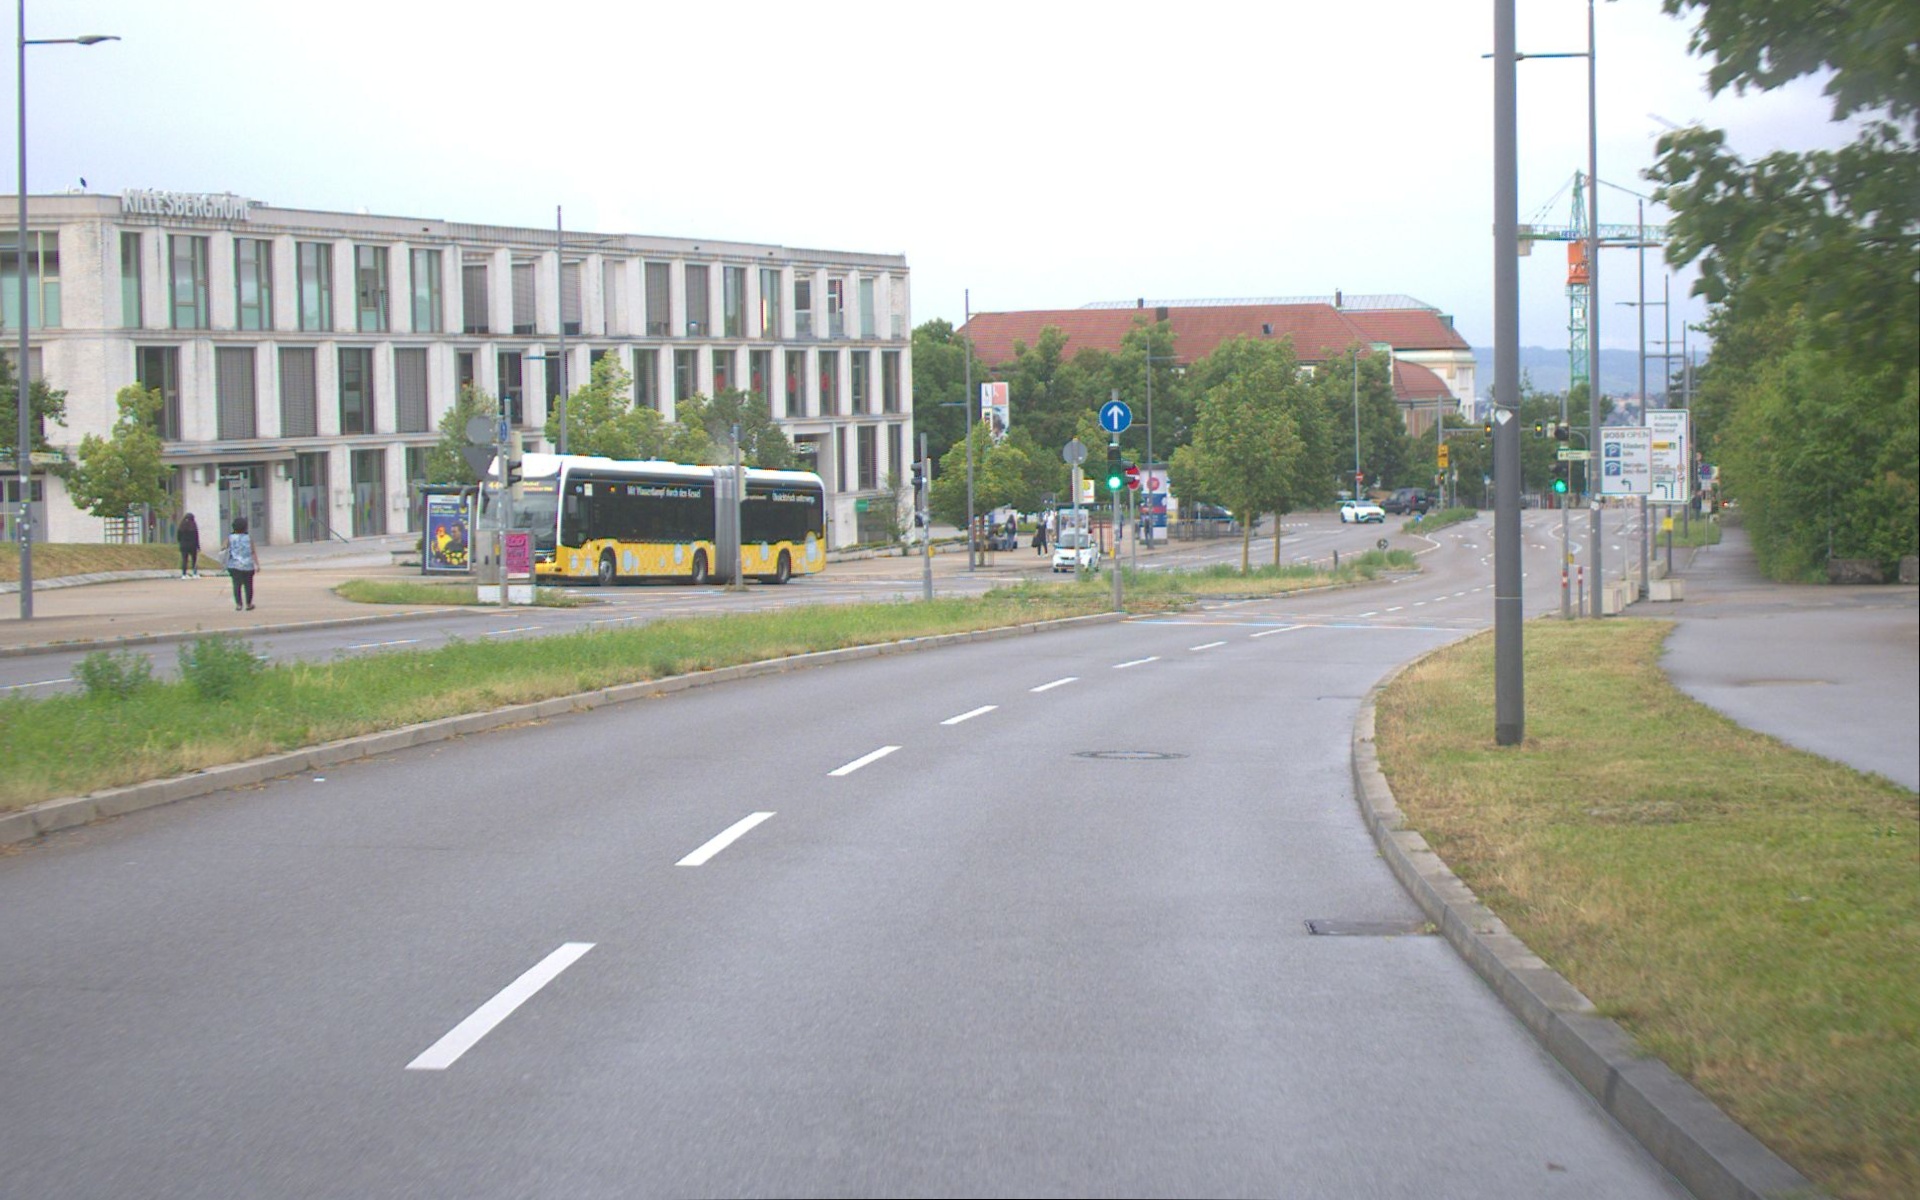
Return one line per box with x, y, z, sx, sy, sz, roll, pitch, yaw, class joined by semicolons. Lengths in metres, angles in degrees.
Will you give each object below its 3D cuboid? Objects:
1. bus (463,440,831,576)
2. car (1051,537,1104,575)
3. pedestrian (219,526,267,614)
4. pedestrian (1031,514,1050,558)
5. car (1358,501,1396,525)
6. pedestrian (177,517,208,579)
-8.325;-2.398;96.135;2.787;3.345;18.208;0;0;20;bus
4.684;-1.735;136.554;1.479;1.489;2.528;0;0;18;car
-12.852;-0.533;61.654;0.834;1.568;0.719;0;0;-12;pedestrian
3.594;-2.839;152.962;0.748;1.940;0.838;0;0;-5;pedestrian
27.106;-5.655;223.271;1.771;1.489;4.064;0;0;17;car
-19.051;-1.281;85.348;0.682;1.519;0.719;0;0;-6;pedestrian
